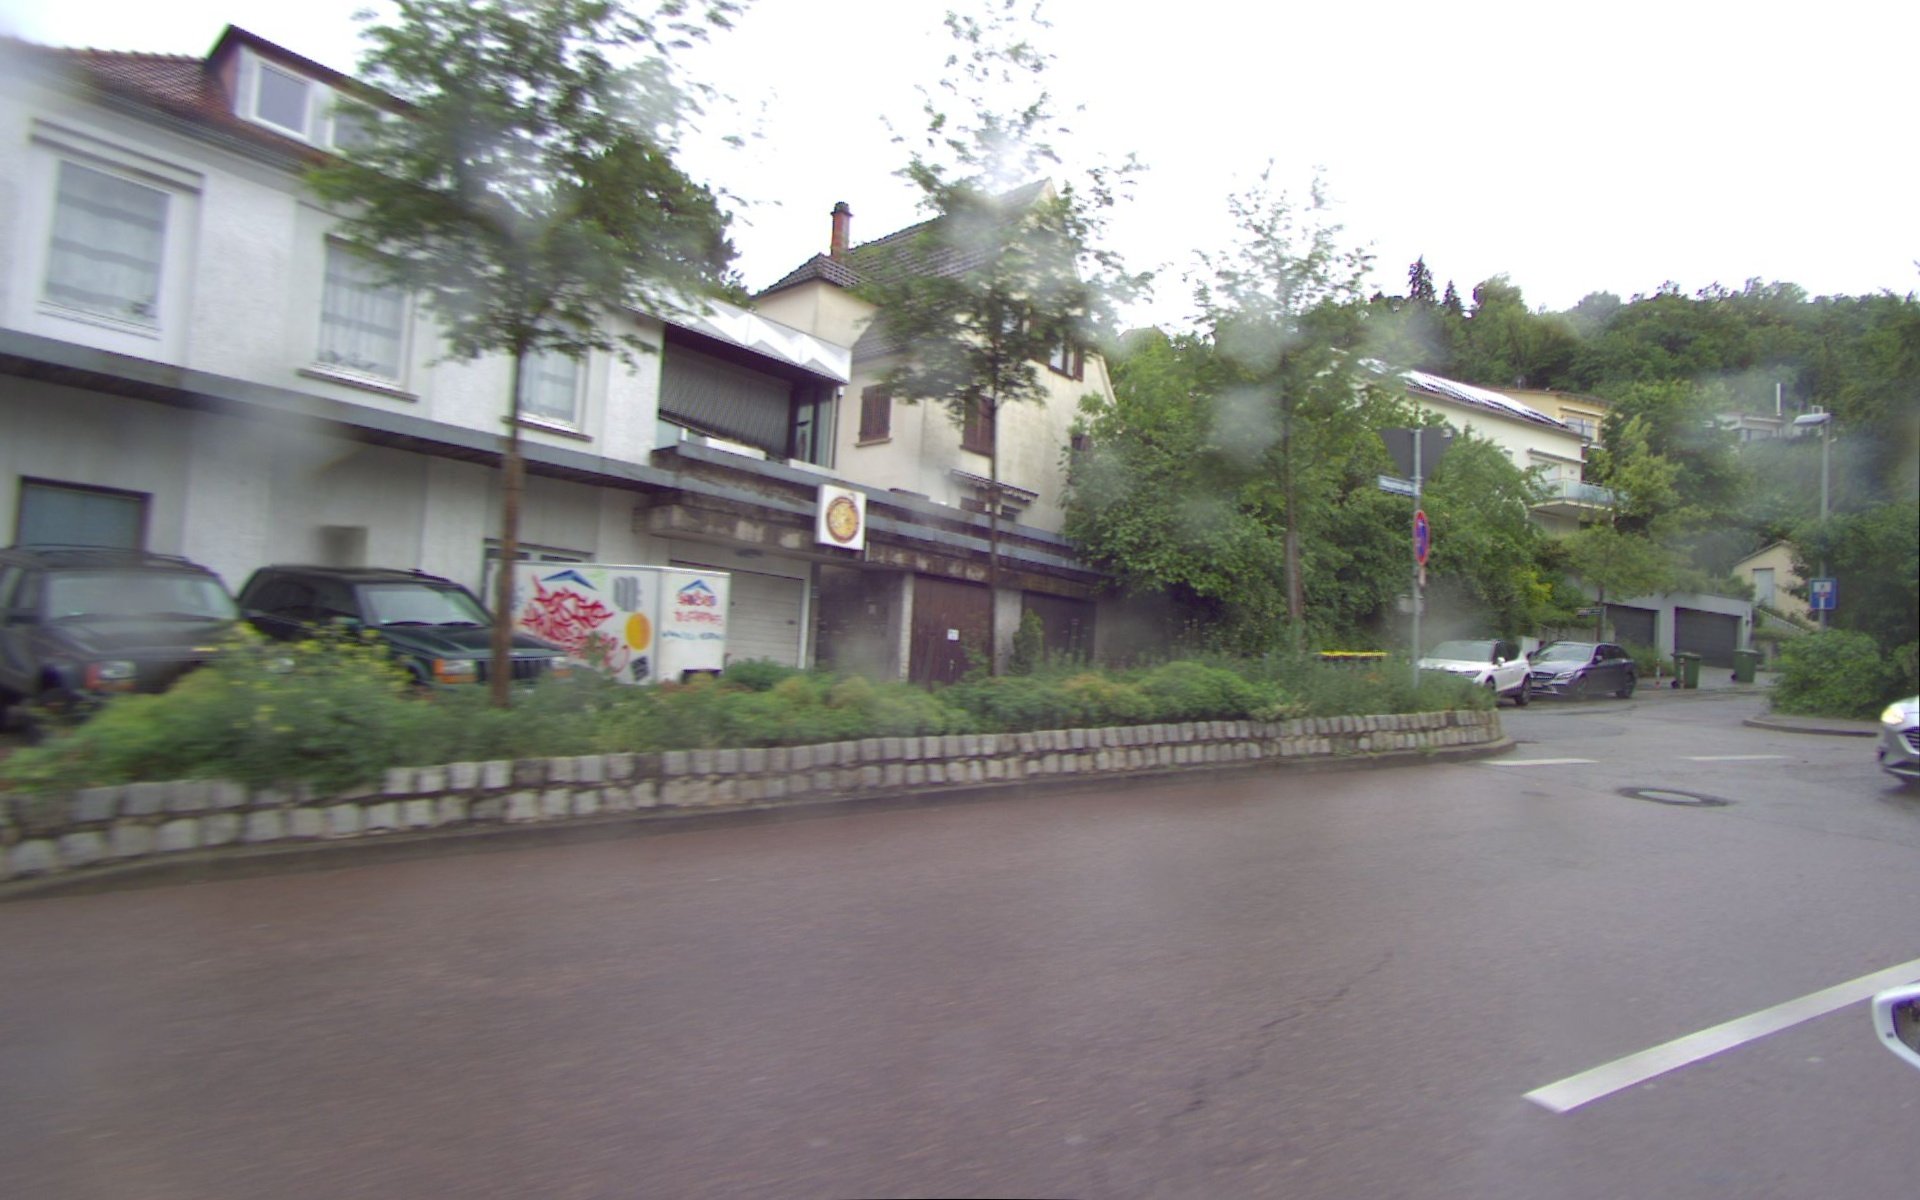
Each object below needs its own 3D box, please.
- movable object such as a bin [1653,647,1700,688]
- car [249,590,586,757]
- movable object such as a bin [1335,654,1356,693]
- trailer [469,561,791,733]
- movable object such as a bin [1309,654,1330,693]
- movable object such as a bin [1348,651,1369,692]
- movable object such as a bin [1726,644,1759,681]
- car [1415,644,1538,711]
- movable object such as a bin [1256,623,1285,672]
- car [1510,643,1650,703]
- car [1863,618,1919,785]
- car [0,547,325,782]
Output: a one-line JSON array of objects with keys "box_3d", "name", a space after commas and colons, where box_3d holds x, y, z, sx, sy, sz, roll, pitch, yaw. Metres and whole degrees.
[{"box_3d": [21.999, 2.062, 30.862, 0.921, 1.214, 0.848, 2, 0, -29], "name": "movable object such as a bin"}, {"box_3d": [-5.958, 0.698, 10.999, 3.287, 1.505, 1.835, 2, -1, 32], "name": "car"}, {"box_3d": [9.600, 1.826, 25.008, 0.391, 0.928, 0.289, 2, 0, -36], "name": "movable object such as a bin"}, {"box_3d": [-4.582, 0.617, 14.074, 3.883, 2.130, 1.954, 0, -2, 20], "name": "trailer"}, {"box_3d": [8.733, 1.774, 24.381, 0.373, 0.928, 0.298, 2, 0, -36], "name": "movable object such as a bin"}, {"box_3d": [10.067, 1.798, 25.371, 0.367, 1.008, 0.303, 2, 0, -36], "name": "movable object such as a bin"}, {"box_3d": [27.204, 2.155, 34.936, 0.583, 1.239, 0.702, 2, 0, -26], "name": "movable object such as a bin"}, {"box_3d": [11.969, 1.733, 23.198, 1.527, 1.348, 3.725, 1, -1, 43], "name": "car"}, {"box_3d": [7.043, 1.068, 22.773, 0.495, 1.078, 0.363, 2, 0, -35], "name": "movable object such as a bin"}, {"box_3d": [16.196, 1.852, 26.167, 4.406, 1.378, 1.586, 2, -1, -37], "name": "car"}, {"box_3d": [10.396, 0.932, 8.917, 4.168, 1.432, 1.595, 2, 0, -16], "name": "car"}, {"box_3d": [-8.003, 0.453, 9.560, 4.020, 1.798, 1.794, 2, 0, 34], "name": "car"}]
